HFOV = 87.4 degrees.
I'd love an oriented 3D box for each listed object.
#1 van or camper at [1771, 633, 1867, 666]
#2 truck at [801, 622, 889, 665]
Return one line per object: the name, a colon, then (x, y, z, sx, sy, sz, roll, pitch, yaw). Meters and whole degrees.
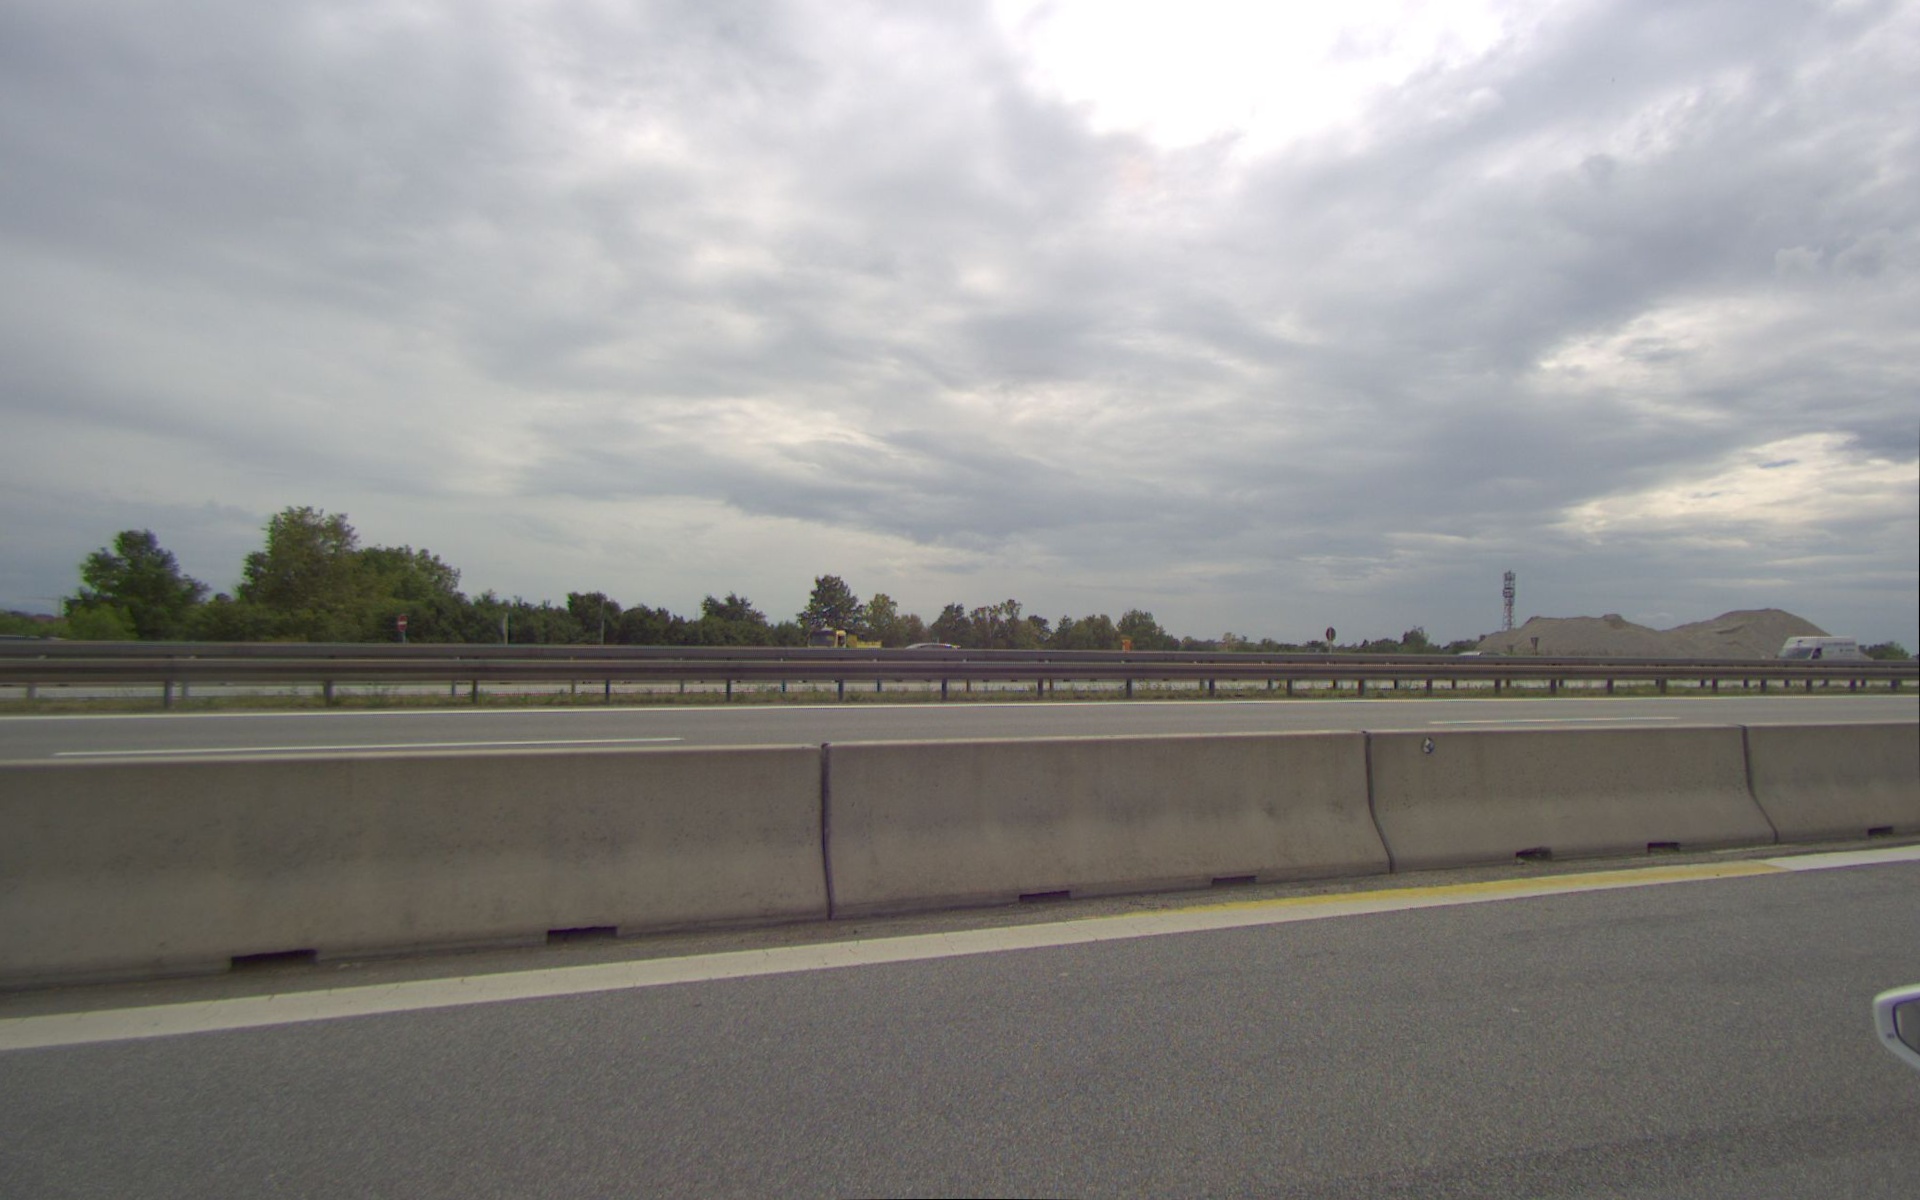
van or camper: (55.359, 3.181, 64.726, 6.189, 2.040, 2.230, 2, -1, -23)
truck: (-8.013, 3.043, 71.499, 2.858, 2.810, 8.784, 1, -1, 18)
